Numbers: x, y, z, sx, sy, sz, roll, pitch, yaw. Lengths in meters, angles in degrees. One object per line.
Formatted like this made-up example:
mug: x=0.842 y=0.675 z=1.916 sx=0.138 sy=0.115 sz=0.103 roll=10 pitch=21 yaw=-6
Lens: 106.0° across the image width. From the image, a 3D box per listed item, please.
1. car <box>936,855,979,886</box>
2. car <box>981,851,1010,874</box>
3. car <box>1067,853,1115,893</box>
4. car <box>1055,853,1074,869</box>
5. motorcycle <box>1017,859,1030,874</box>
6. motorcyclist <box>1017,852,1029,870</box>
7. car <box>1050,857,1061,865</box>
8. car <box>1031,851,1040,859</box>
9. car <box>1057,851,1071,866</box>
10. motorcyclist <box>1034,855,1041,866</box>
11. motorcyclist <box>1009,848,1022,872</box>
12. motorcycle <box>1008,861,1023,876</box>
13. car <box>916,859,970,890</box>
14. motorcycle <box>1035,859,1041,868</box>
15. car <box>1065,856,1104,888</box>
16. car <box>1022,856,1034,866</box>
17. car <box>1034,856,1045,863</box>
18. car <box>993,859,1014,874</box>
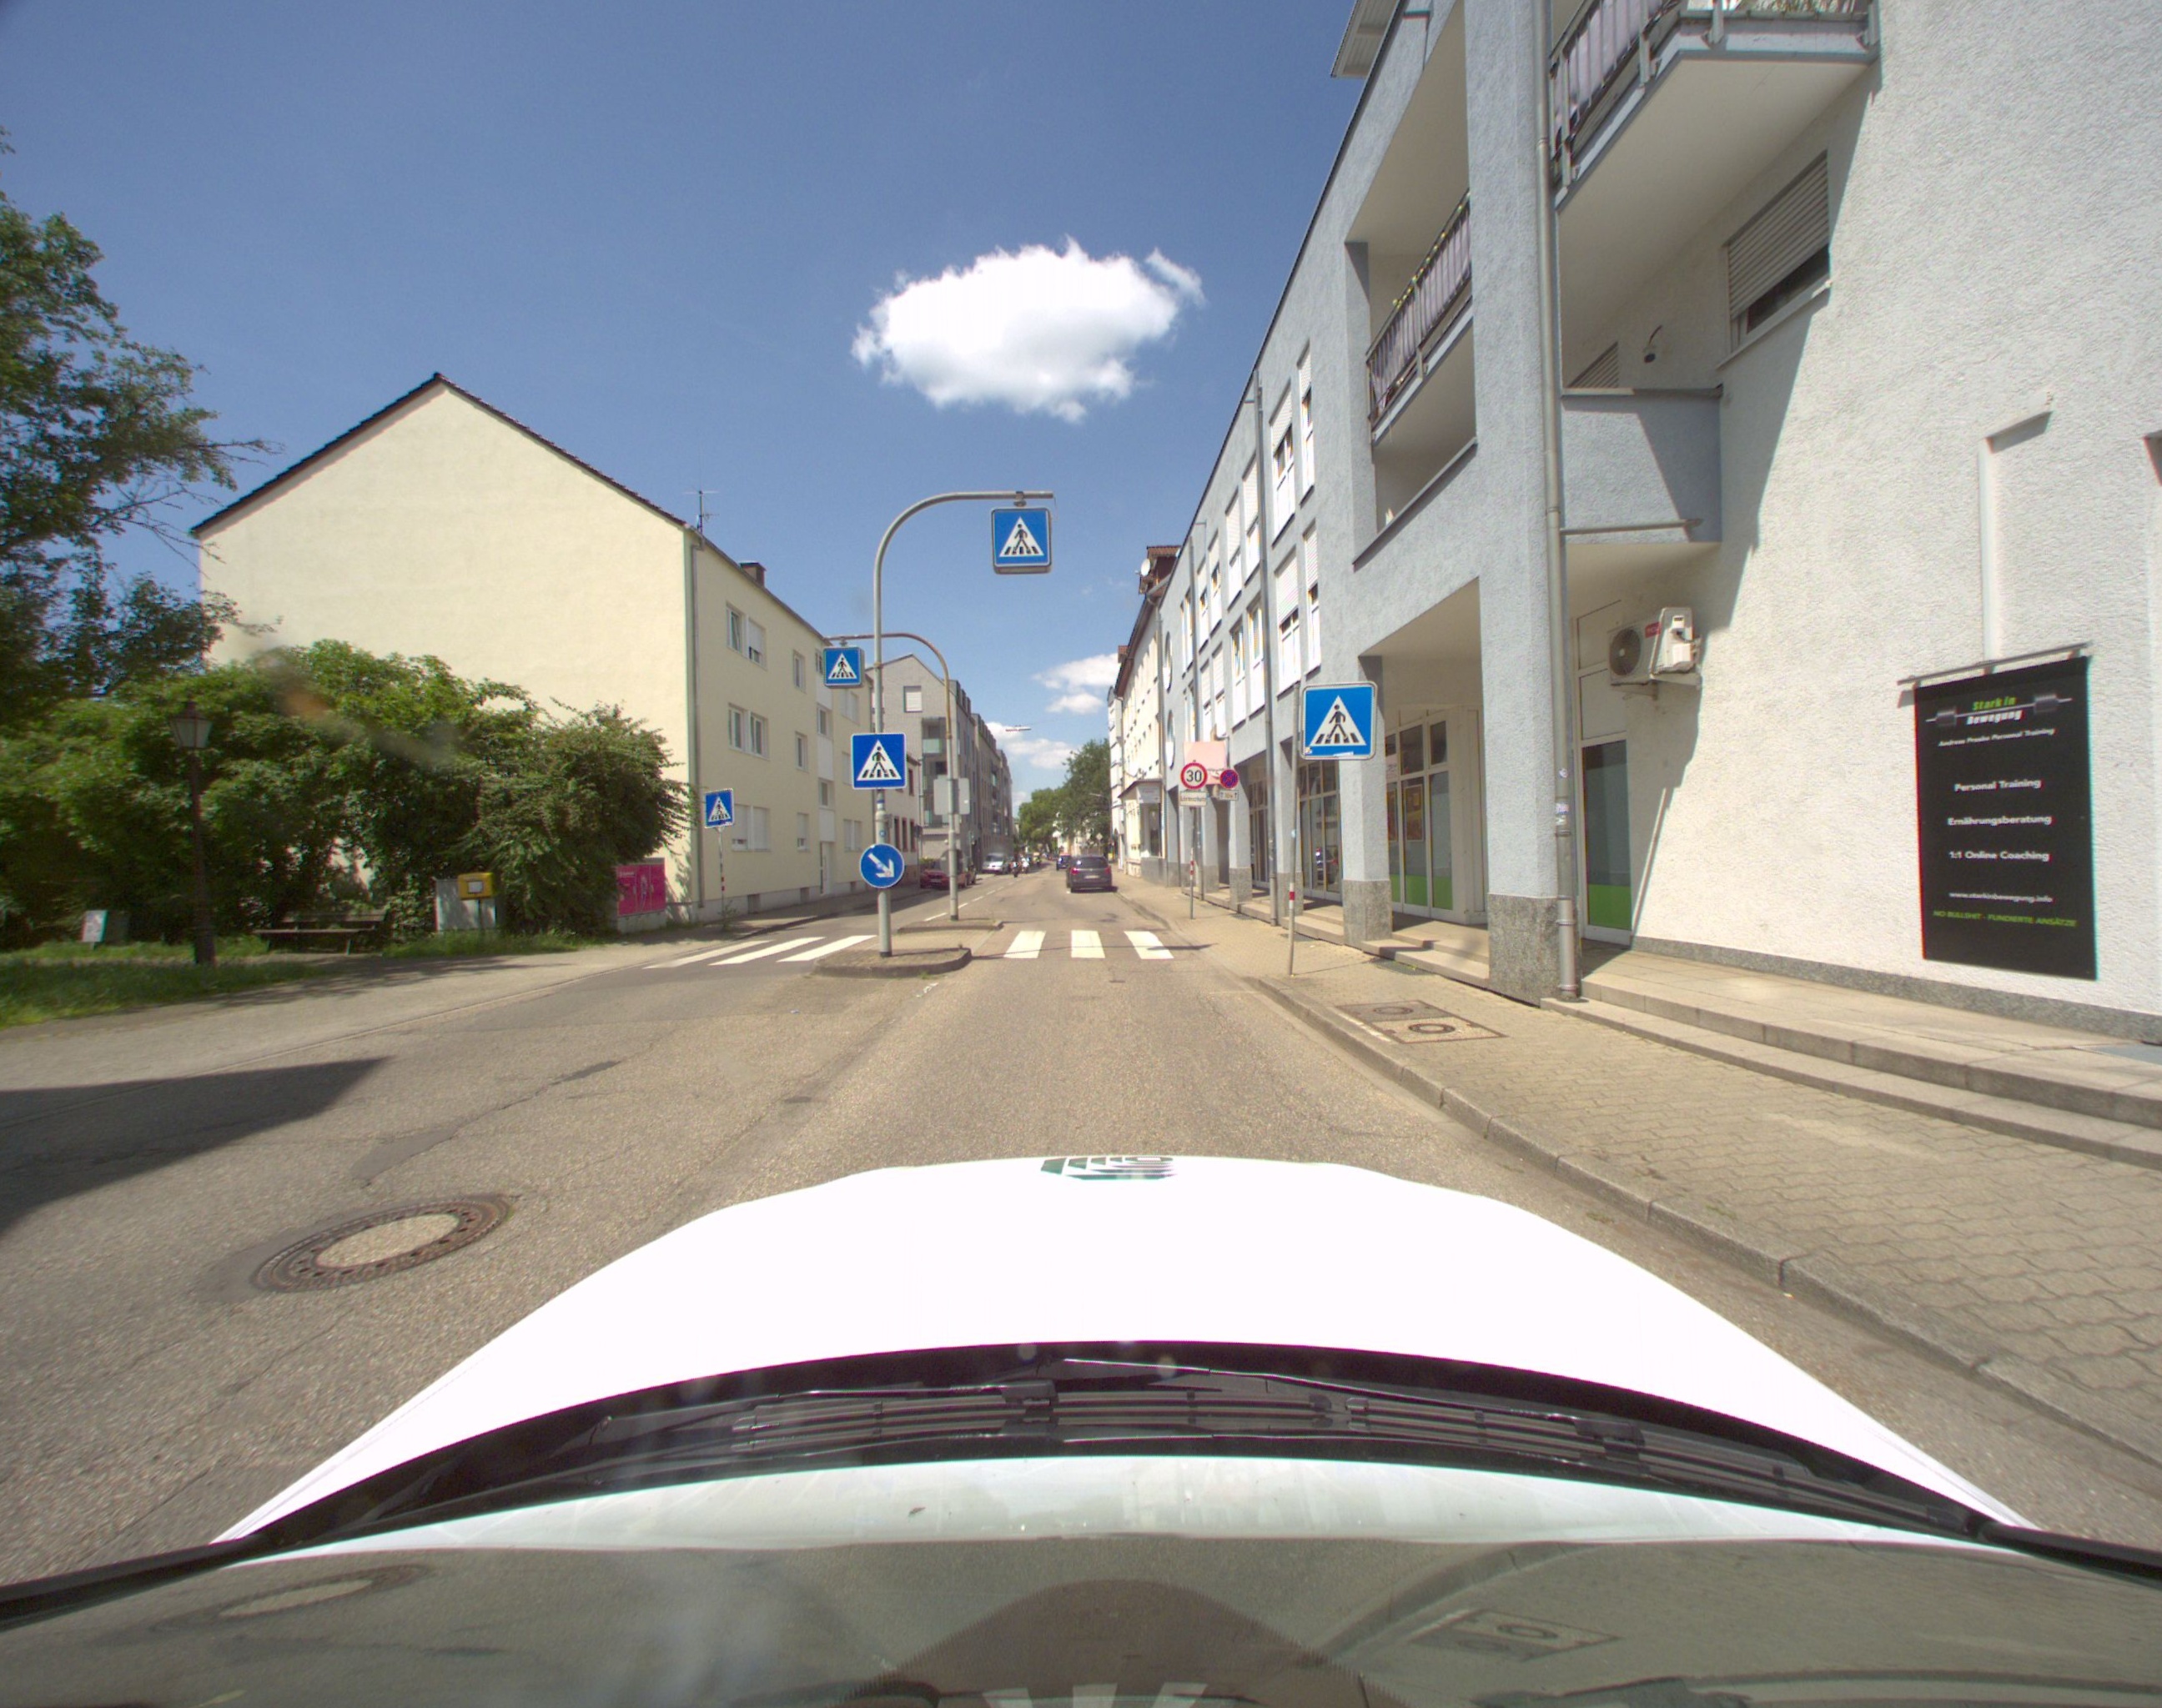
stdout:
car: x=-6.891 y=0.890 z=45.779 sx=1.789 sy=1.646 sz=3.944 roll=-1 pitch=0 yaw=0
car: x=-7.128 y=0.697 z=68.499 sx=1.750 sy=1.892 sz=4.339 roll=1 pitch=0 yaw=3
car: x=0.356 y=0.732 z=33.737 sx=1.706 sy=1.508 sz=3.996 roll=-2 pitch=0 yaw=-3
car: x=-1.557 y=0.601 z=77.400 sx=1.710 sy=1.402 sz=3.998 roll=-2 pitch=0 yaw=-1
motorcycle: x=-4.817 y=1.010 z=68.169 sx=0.893 sy=1.176 sz=2.207 roll=-1 pitch=0 yaw=-1
motorcyclist: x=-4.836 y=0.596 z=68.161 sx=0.913 sy=1.480 sz=1.202 roll=-1 pitch=0 yaw=-1
car: x=-5.698 y=1.558 z=181.714 sx=1.991 sy=1.618 sz=3.991 roll=-1 pitch=0 yaw=-6
car: x=-12.938 y=0.252 z=231.445 sx=2.151 sy=2.013 sz=3.997 roll=-2 pitch=0 yaw=-2
car: x=-2.316 y=0.596 z=110.985 sx=1.833 sy=2.013 sz=3.999 roll=-2 pitch=0 yaw=-1
motorcyclist: x=-5.909 y=0.894 z=110.898 sx=0.820 sy=1.509 sz=1.056 roll=-2 pitch=0 yaw=-1
motorcyclist: x=-4.663 y=0.411 z=57.648 sx=0.710 sy=1.634 sz=1.069 roll=-2 pitch=0 yaw=2
motorcycle: x=-4.645 y=1.010 z=57.604 sx=0.710 sy=1.028 sz=2.241 roll=-2 pitch=0 yaw=3
car: x=-6.837 y=0.970 z=40.793 sx=1.827 sy=1.417 sz=4.291 roll=-2 pitch=0 yaw=1
motorcycle: x=-5.881 y=1.279 z=110.861 sx=0.686 sy=1.122 sz=2.027 roll=-2 pitch=0 yaw=-1
car: x=0.135 y=0.823 z=39.198 sx=1.724 sy=1.420 sz=4.542 roll=-2 pitch=0 yaw=-1
car: x=-7.887 y=1.065 z=121.457 sx=1.728 sy=1.442 sz=3.997 roll=-2 pitch=0 yaw=-2
car: x=-8.563 y=1.102 z=167.487 sx=1.987 sy=1.381 sz=4.393 roll=0 pitch=0 yaw=1
car: x=-7.704 y=1.236 z=81.264 sx=1.717 sy=1.456 sz=4.004 roll=0 pitch=0 yaw=0
